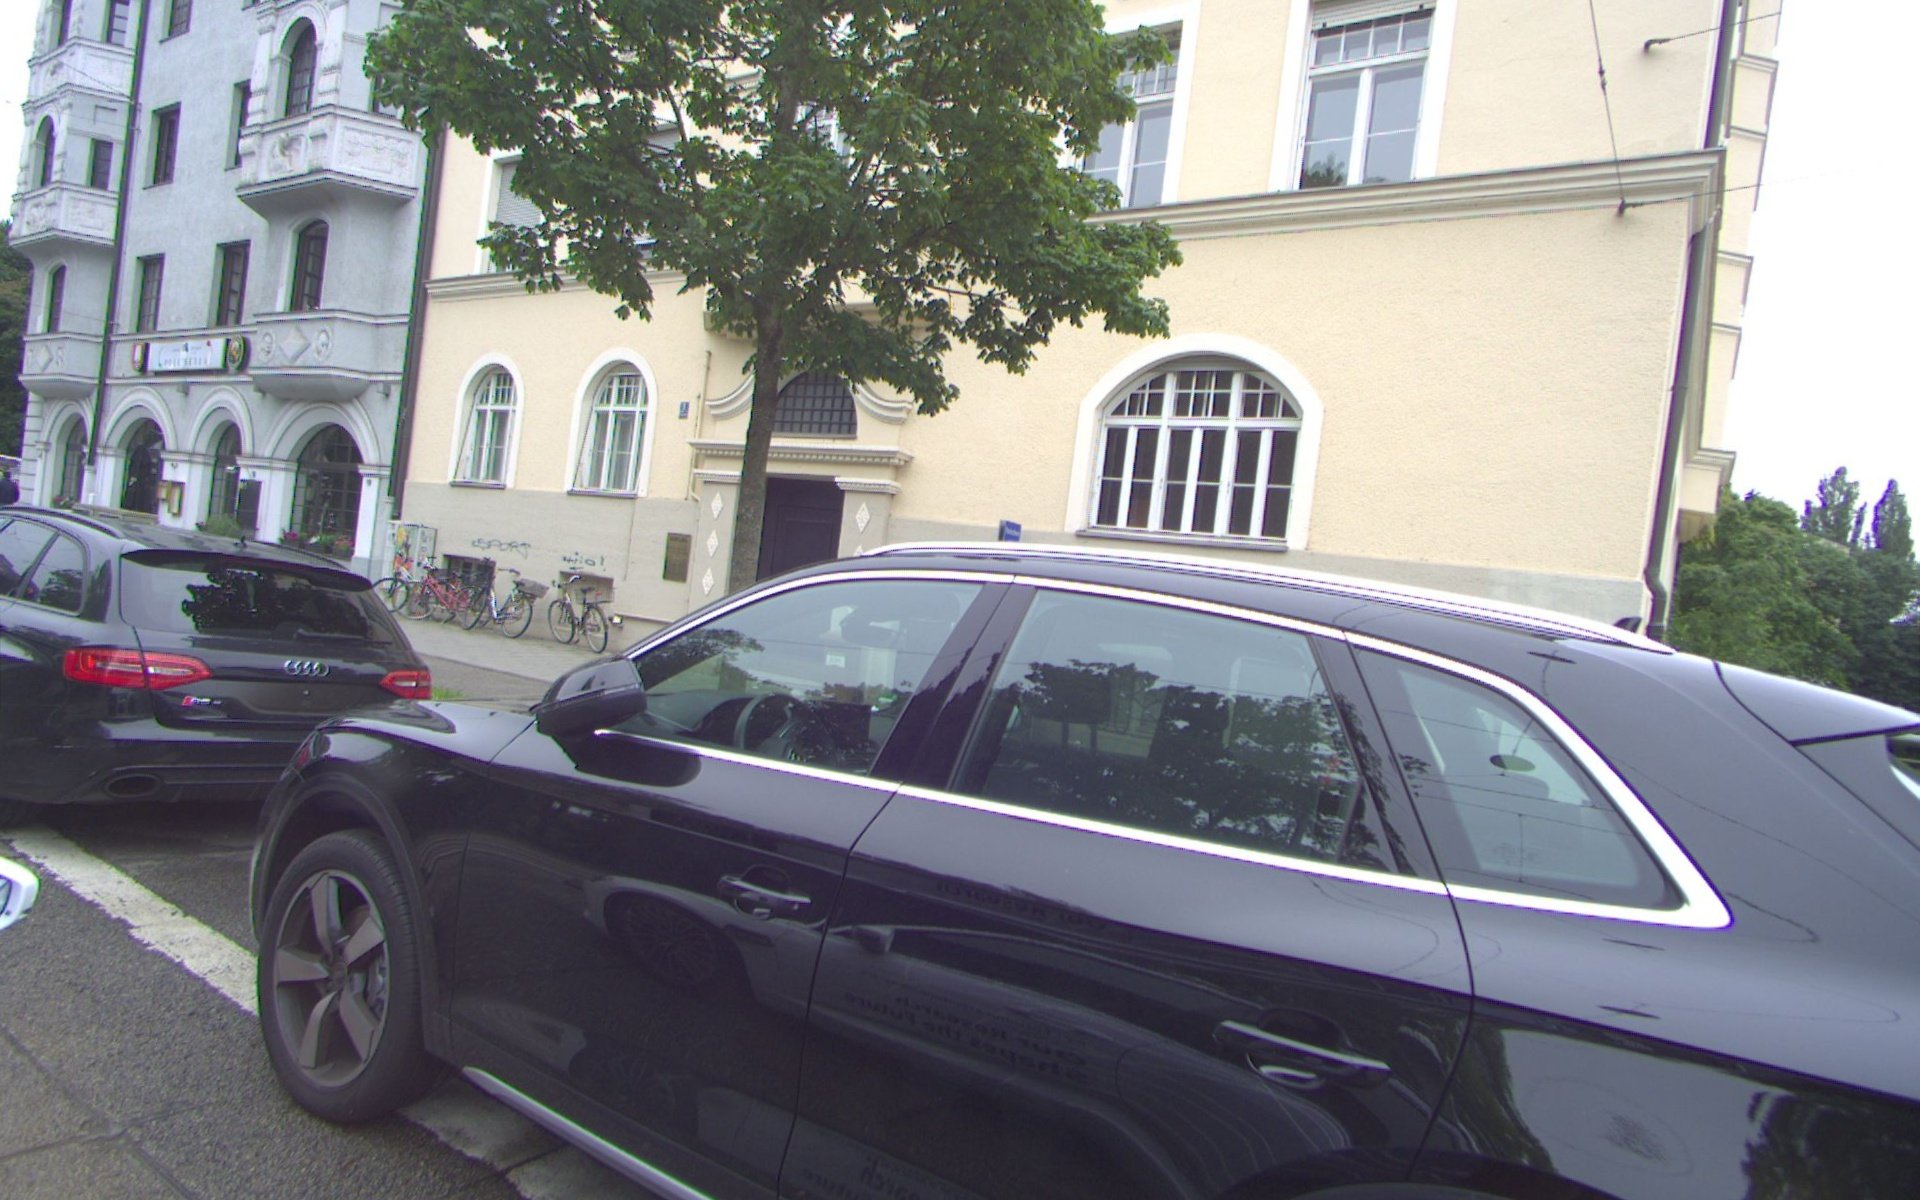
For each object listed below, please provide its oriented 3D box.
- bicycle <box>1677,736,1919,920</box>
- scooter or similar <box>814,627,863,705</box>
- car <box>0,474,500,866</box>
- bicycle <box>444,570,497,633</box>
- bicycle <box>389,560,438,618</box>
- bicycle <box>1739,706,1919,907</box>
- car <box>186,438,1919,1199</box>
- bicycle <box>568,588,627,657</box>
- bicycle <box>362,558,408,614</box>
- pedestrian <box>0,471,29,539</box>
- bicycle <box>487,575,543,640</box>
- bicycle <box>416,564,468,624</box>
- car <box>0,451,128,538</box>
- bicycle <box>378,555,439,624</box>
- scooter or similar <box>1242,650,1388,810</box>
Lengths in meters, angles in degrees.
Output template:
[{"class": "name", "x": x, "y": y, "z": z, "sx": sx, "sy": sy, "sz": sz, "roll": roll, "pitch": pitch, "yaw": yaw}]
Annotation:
[{"class": "bicycle", "x": 6.553, "y": 1.740, "z": 7.850, "sx": 1.417, "sy": 1.119, "sz": 0.287, "roll": 7, "pitch": 0, "yaw": 24}, {"class": "scooter or similar", "x": -1.530, "y": 0.828, "z": 12.721, "sx": 0.413, "sy": 0.921, "sz": 0.348, "roll": 8, "pitch": -1, "yaw": 11}, {"class": "car", "x": -4.847, "y": 0.139, "z": 5.676, "sx": 4.525, "sy": 1.442, "sz": 1.720, "roll": 7, "pitch": -2, "yaw": 31}, {"class": "bicycle", "x": -8.255, "y": 0.020, "z": 16.957, "sx": 0.871, "sy": 0.941, "sz": 0.273, "roll": 7, "pitch": -1, "yaw": 33}, {"class": "bicycle", "x": -9.804, "y": -0.203, "z": 18.038, "sx": 0.871, "sy": 0.941, "sz": 0.291, "roll": 7, "pitch": -1, "yaw": 33}, {"class": "bicycle", "x": 7.006, "y": 1.588, "z": 7.686, "sx": 1.511, "sy": 1.327, "sz": 0.332, "roll": 7, "pitch": -1, "yaw": 30}, {"class": "car", "x": 0.145, "y": 0.663, "z": 2.533, "sx": 4.414, "sy": 1.677, "sz": 1.777, "roll": 7, "pitch": -2, "yaw": 32}, {"class": "bicycle", "x": -5.488, "y": 0.336, "z": 15.225, "sx": 0.871, "sy": 0.941, "sz": 0.222, "roll": 7, "pitch": -1, "yaw": 31}, {"class": "bicycle", "x": -10.588, "y": -0.259, "z": 18.522, "sx": 0.871, "sy": 0.941, "sz": 0.259, "roll": 7, "pitch": -1, "yaw": 33}, {"class": "pedestrian", "x": -26.004, "y": -2.597, "z": 27.310, "sx": 0.829, "sy": 1.752, "sz": 0.706, "roll": 7, "pitch": -1, "yaw": 32}, {"class": "bicycle", "x": -7.173, "y": 0.120, "z": 16.215, "sx": 0.871, "sy": 0.941, "sz": 0.285, "roll": 7, "pitch": -1, "yaw": 33}, {"class": "bicycle", "x": -9.024, "y": -0.109, "z": 17.512, "sx": 0.871, "sy": 0.941, "sz": 0.306, "roll": 7, "pitch": -1, "yaw": 34}, {"class": "car", "x": -36.457, "y": -4.256, "z": 39.413, "sx": 2.192, "sy": 2.642, "sz": 5.311, "roll": 7, "pitch": -2, "yaw": 29}, {"class": "bicycle", "x": -9.533, "y": -0.193, "z": 17.370, "sx": 1.203, "sy": 1.051, "sz": 0.242, "roll": 7, "pitch": -1, "yaw": 32}, {"class": "scooter or similar", "x": 3.361, "y": 1.211, "z": 9.560, "sx": 1.123, "sy": 1.328, "sz": 0.262, "roll": 7, "pitch": -1, "yaw": 32}]
